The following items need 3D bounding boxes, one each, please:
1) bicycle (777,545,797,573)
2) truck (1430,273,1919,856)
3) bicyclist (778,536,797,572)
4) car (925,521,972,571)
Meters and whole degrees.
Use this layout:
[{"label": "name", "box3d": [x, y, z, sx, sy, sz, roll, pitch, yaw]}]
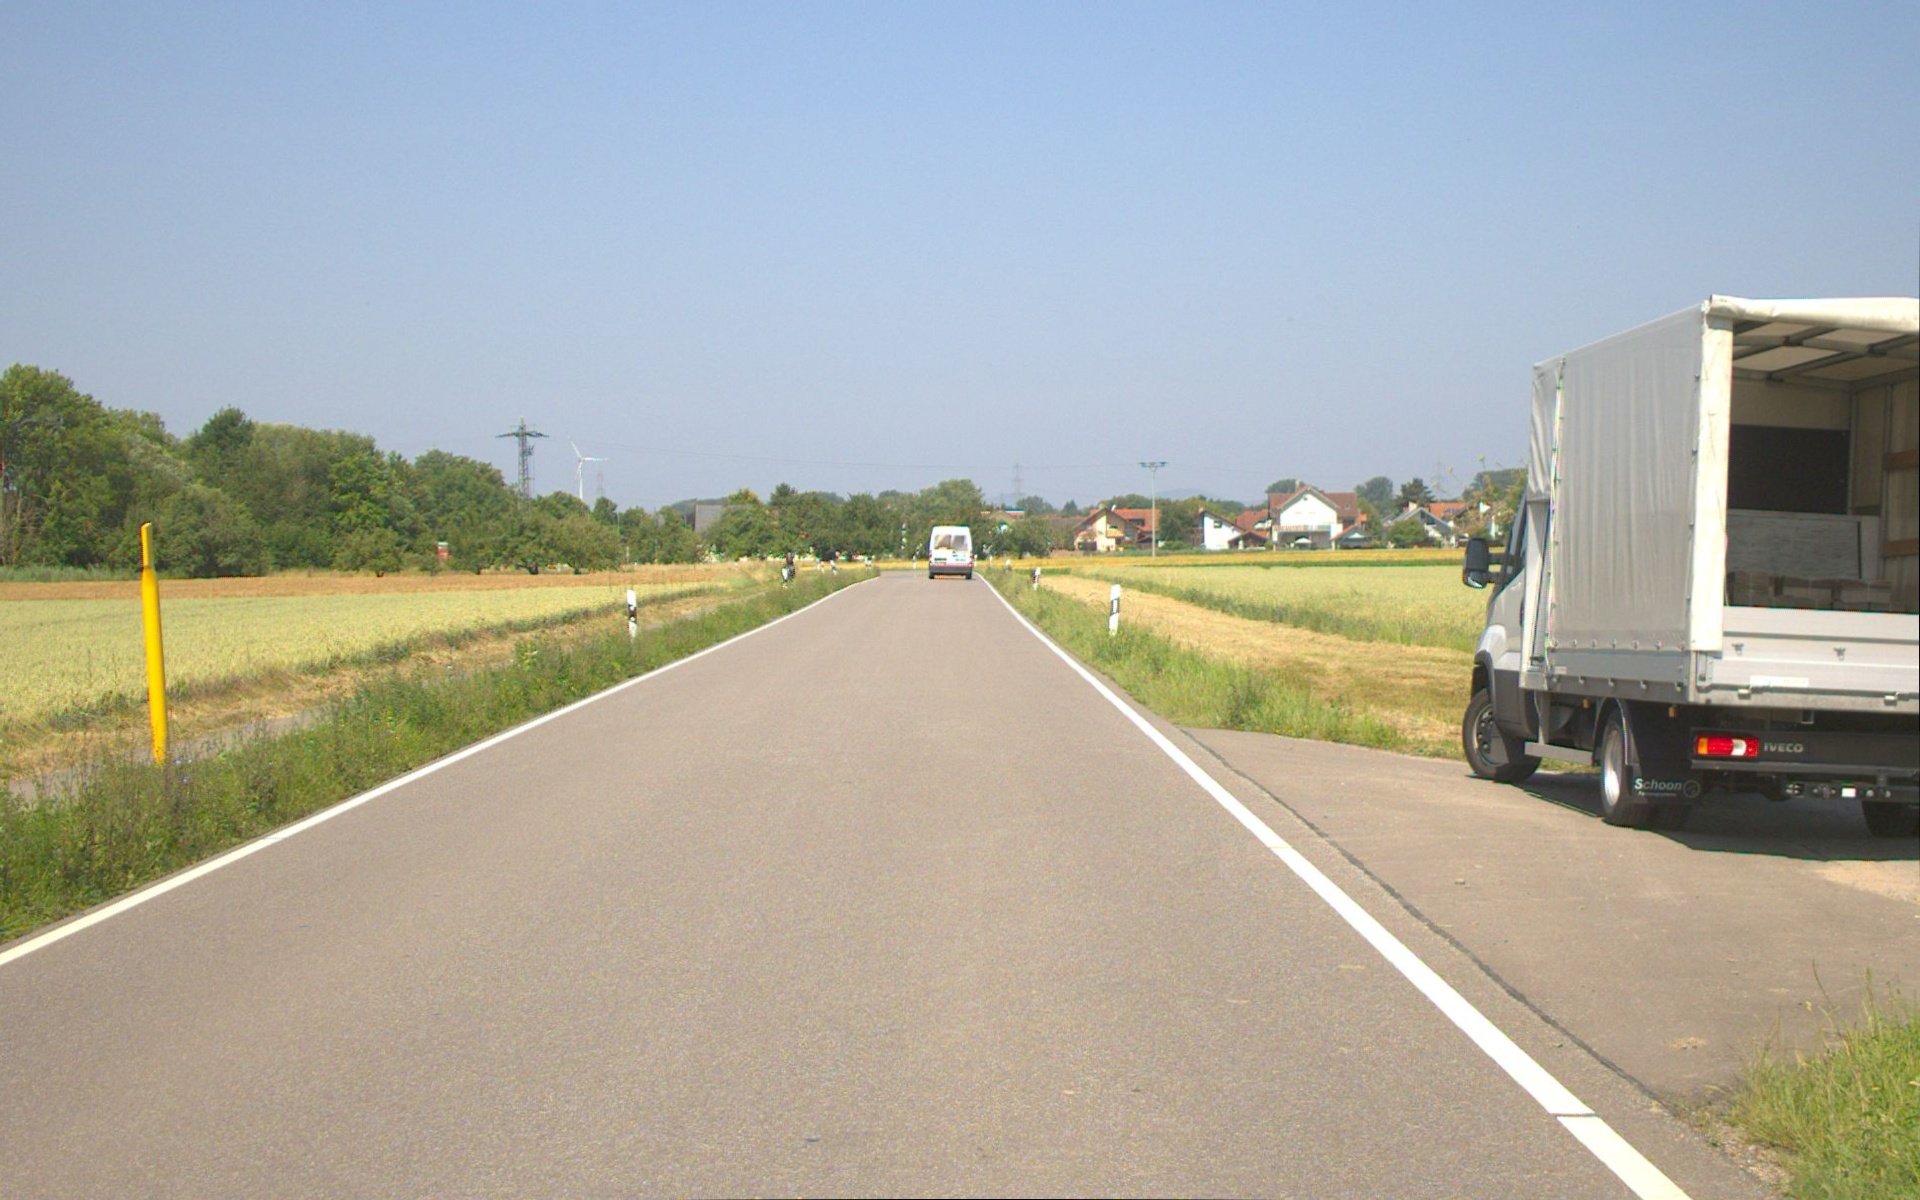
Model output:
[{"label": "bicycle", "box3d": [-7.992, -1.902, 159.277, 0.759, 1.231, 2.394, -2, 1, 0]}, {"label": "truck", "box3d": [4.725, -0.210, 21.140, 2.335, 2.932, 7.009, 2, 1, -2]}, {"label": "bicyclist", "box3d": [-7.983, -2.130, 159.360, 0.760, 1.667, 1.088, -2, 1, 0]}, {"label": "car", "box3d": [-0.535, -2.540, 161.481, 2.107, 2.296, 5.496, 1, 1, 0]}]
